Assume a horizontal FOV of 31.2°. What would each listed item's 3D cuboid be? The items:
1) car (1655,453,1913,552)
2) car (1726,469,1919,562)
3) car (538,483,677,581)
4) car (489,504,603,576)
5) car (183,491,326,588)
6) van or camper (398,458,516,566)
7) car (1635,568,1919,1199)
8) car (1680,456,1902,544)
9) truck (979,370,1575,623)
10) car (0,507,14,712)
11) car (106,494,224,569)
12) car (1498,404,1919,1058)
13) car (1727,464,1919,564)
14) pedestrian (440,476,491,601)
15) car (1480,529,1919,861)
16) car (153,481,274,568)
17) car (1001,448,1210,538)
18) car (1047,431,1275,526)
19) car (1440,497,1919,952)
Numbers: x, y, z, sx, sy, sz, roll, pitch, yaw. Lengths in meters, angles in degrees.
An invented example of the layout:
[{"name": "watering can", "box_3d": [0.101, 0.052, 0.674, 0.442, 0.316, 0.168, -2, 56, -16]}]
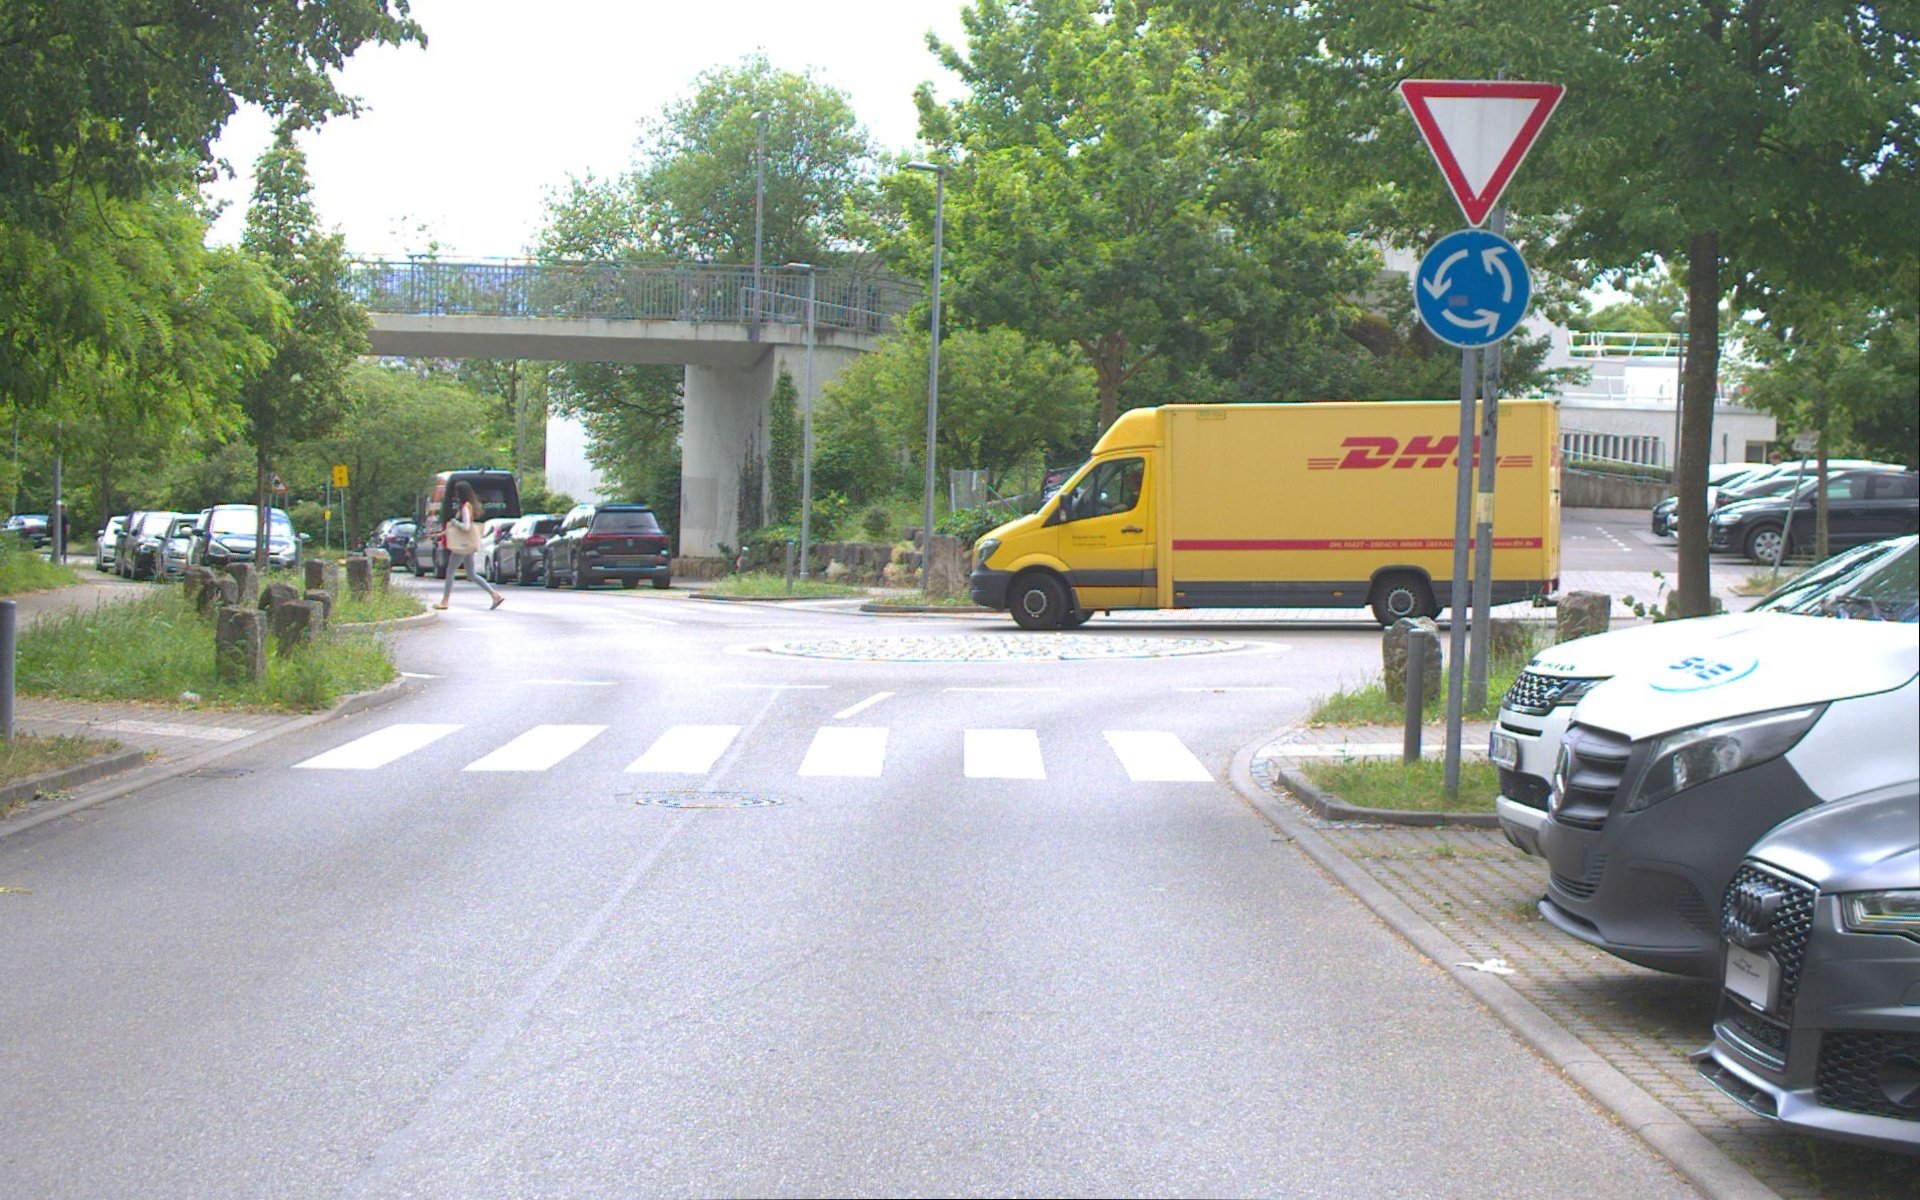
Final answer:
[{"name": "car", "box_3d": [14.464, -1.721, 60.480, 4.119, 1.588, 1.692, 2, 2, 3]}, {"name": "car", "box_3d": [14.865, -1.414, 57.689, 3.829, 1.453, 1.692, 2, 2, 11]}, {"name": "car", "box_3d": [-6.892, -1.293, 66.855, 1.813, 1.673, 4.371, 0, -2, -18]}, {"name": "car", "box_3d": [-8.819, -1.277, 73.031, 1.699, 1.491, 4.120, 0, 1, -17]}, {"name": "car", "box_3d": [-11.820, -1.033, 57.425, 1.785, 1.463, 4.002, 1, 2, -19]}, {"name": "van or camper", "box_3d": [-12.303, -2.126, 83.839, 1.993, 2.514, 5.472, -2, 1, -17]}, {"name": "car", "box_3d": [3.660, 0.614, 7.850, 3.824, 1.366, 1.843, -1, 1, -2]}, {"name": "car", "box_3d": [15.727, -1.904, 65.255, 3.983, 1.512, 1.756, 2, 2, 12]}, {"name": "truck", "box_3d": [3.834, -1.172, 41.289, 6.806, 2.693, 2.472, -1, -3, 14]}, {"name": "car", "box_3d": [-5.236, 0.316, 13.527, 1.690, 1.460, 4.457, 4, 2, 0]}, {"name": "car", "box_3d": [-17.042, -1.474, 73.551, 1.884, 1.504, 4.454, 1, 1, -20]}, {"name": "car", "box_3d": [4.194, 0.324, 10.563, 4.773, 1.825, 1.843, -1, 1, 0]}, {"name": "car", "box_3d": [14.524, -1.380, 55.530, 4.043, 1.512, 1.755, 2, 2, 11]}, {"name": "pedestrian", "box_3d": [-6.951, -0.872, 48.343, 0.657, 1.716, 0.740, 2, 2, -7]}, {"name": "car", "box_3d": [4.404, 0.419, 16.142, 3.511, 1.456, 1.739, 1, 1, -8]}, {"name": "car", "box_3d": [-13.520, -1.380, 62.115, 1.884, 1.455, 3.548, 1, 2, -16]}, {"name": "car", "box_3d": [2.667, -1.951, 62.445, 3.650, 1.493, 1.684, 2, 2, 6]}, {"name": "car", "box_3d": [3.347, -2.008, 56.942, 3.650, 1.434, 1.684, 2, 2, 6]}, {"name": "car", "box_3d": [4.099, 0.468, 13.353, 4.150, 1.596, 1.739, 2, 2, -1]}]
